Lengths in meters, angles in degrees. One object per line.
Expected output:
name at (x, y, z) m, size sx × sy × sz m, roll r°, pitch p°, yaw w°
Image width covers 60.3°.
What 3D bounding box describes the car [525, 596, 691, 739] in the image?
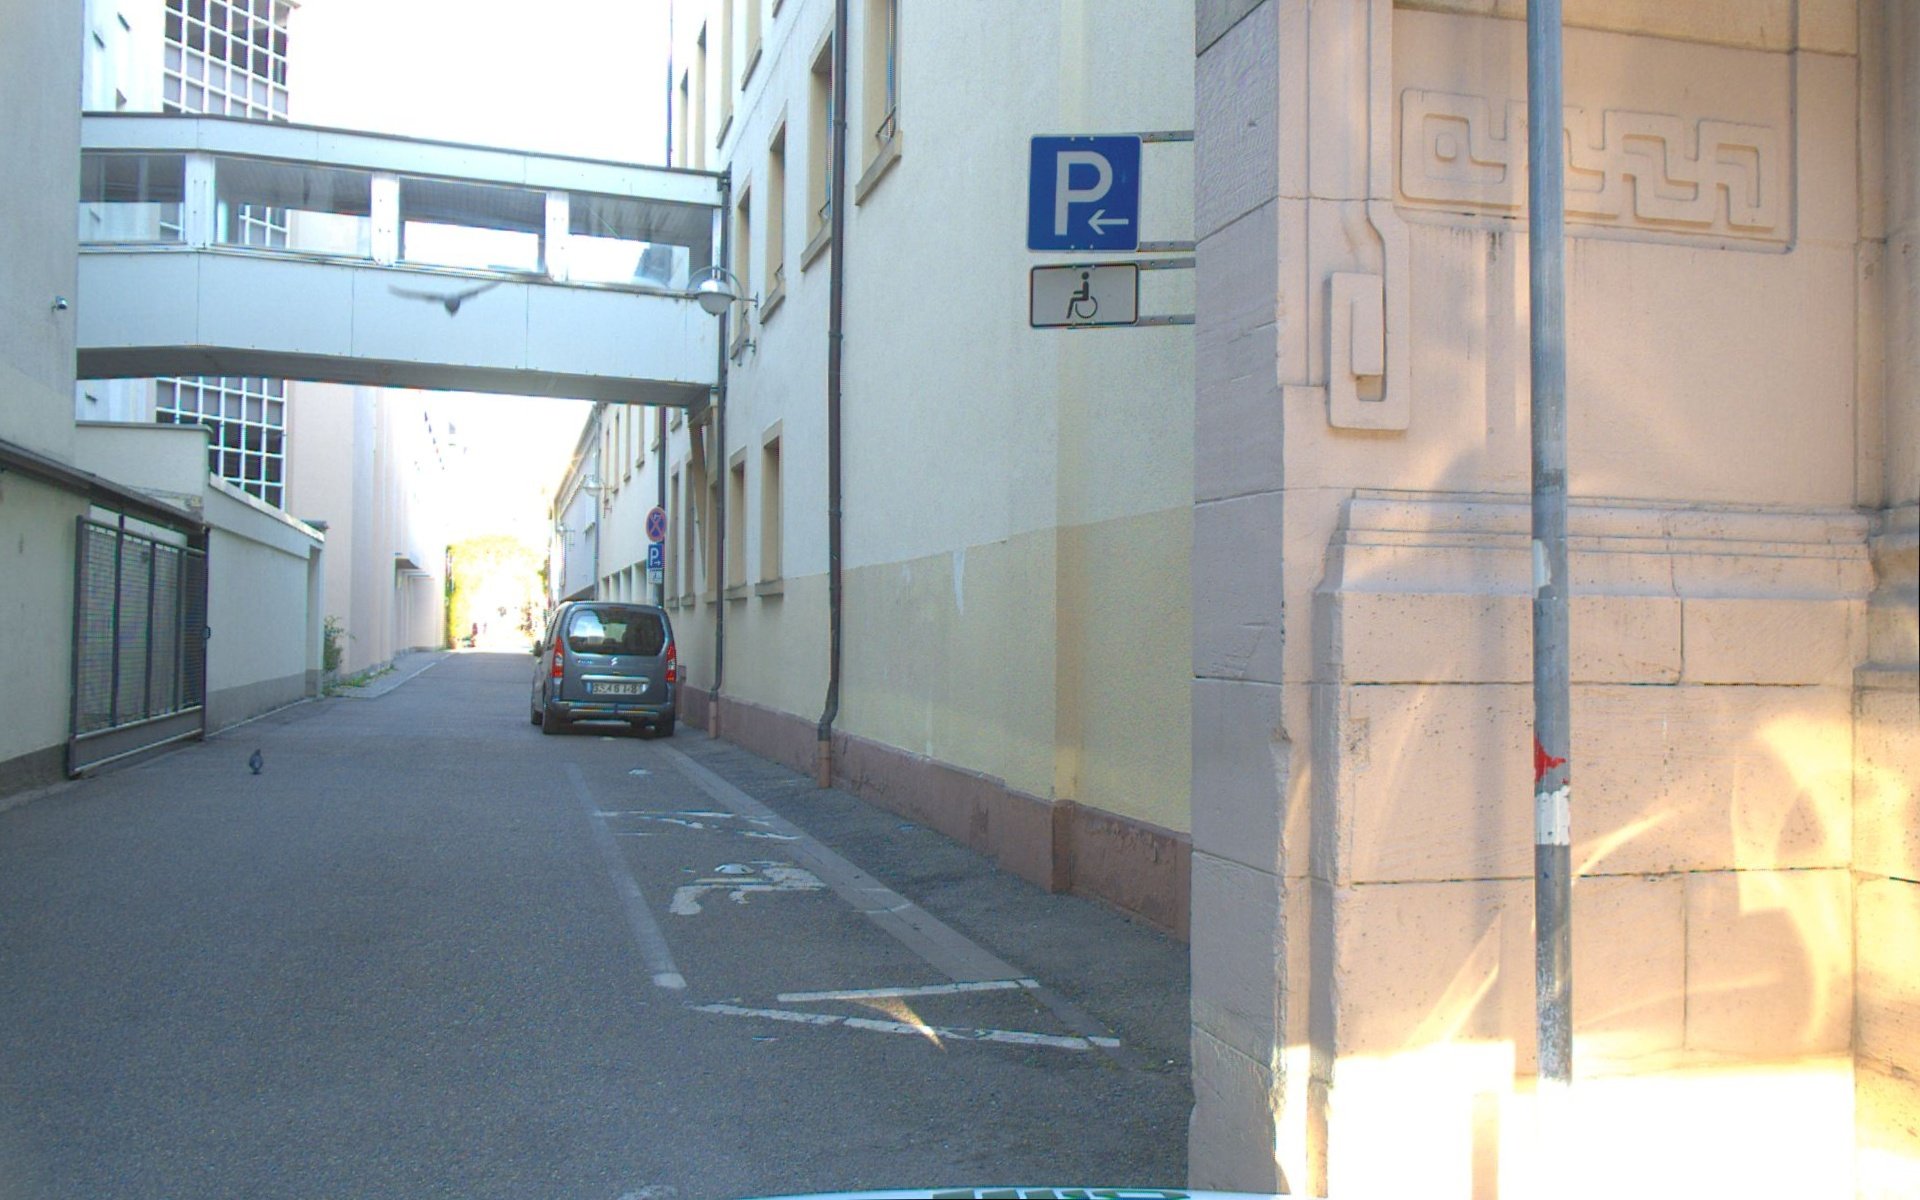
car at (-5.151, 0.918, 23.831) m, size 1.827 × 1.786 × 4.140 m, roll 4°, pitch -2°, yaw -18°
